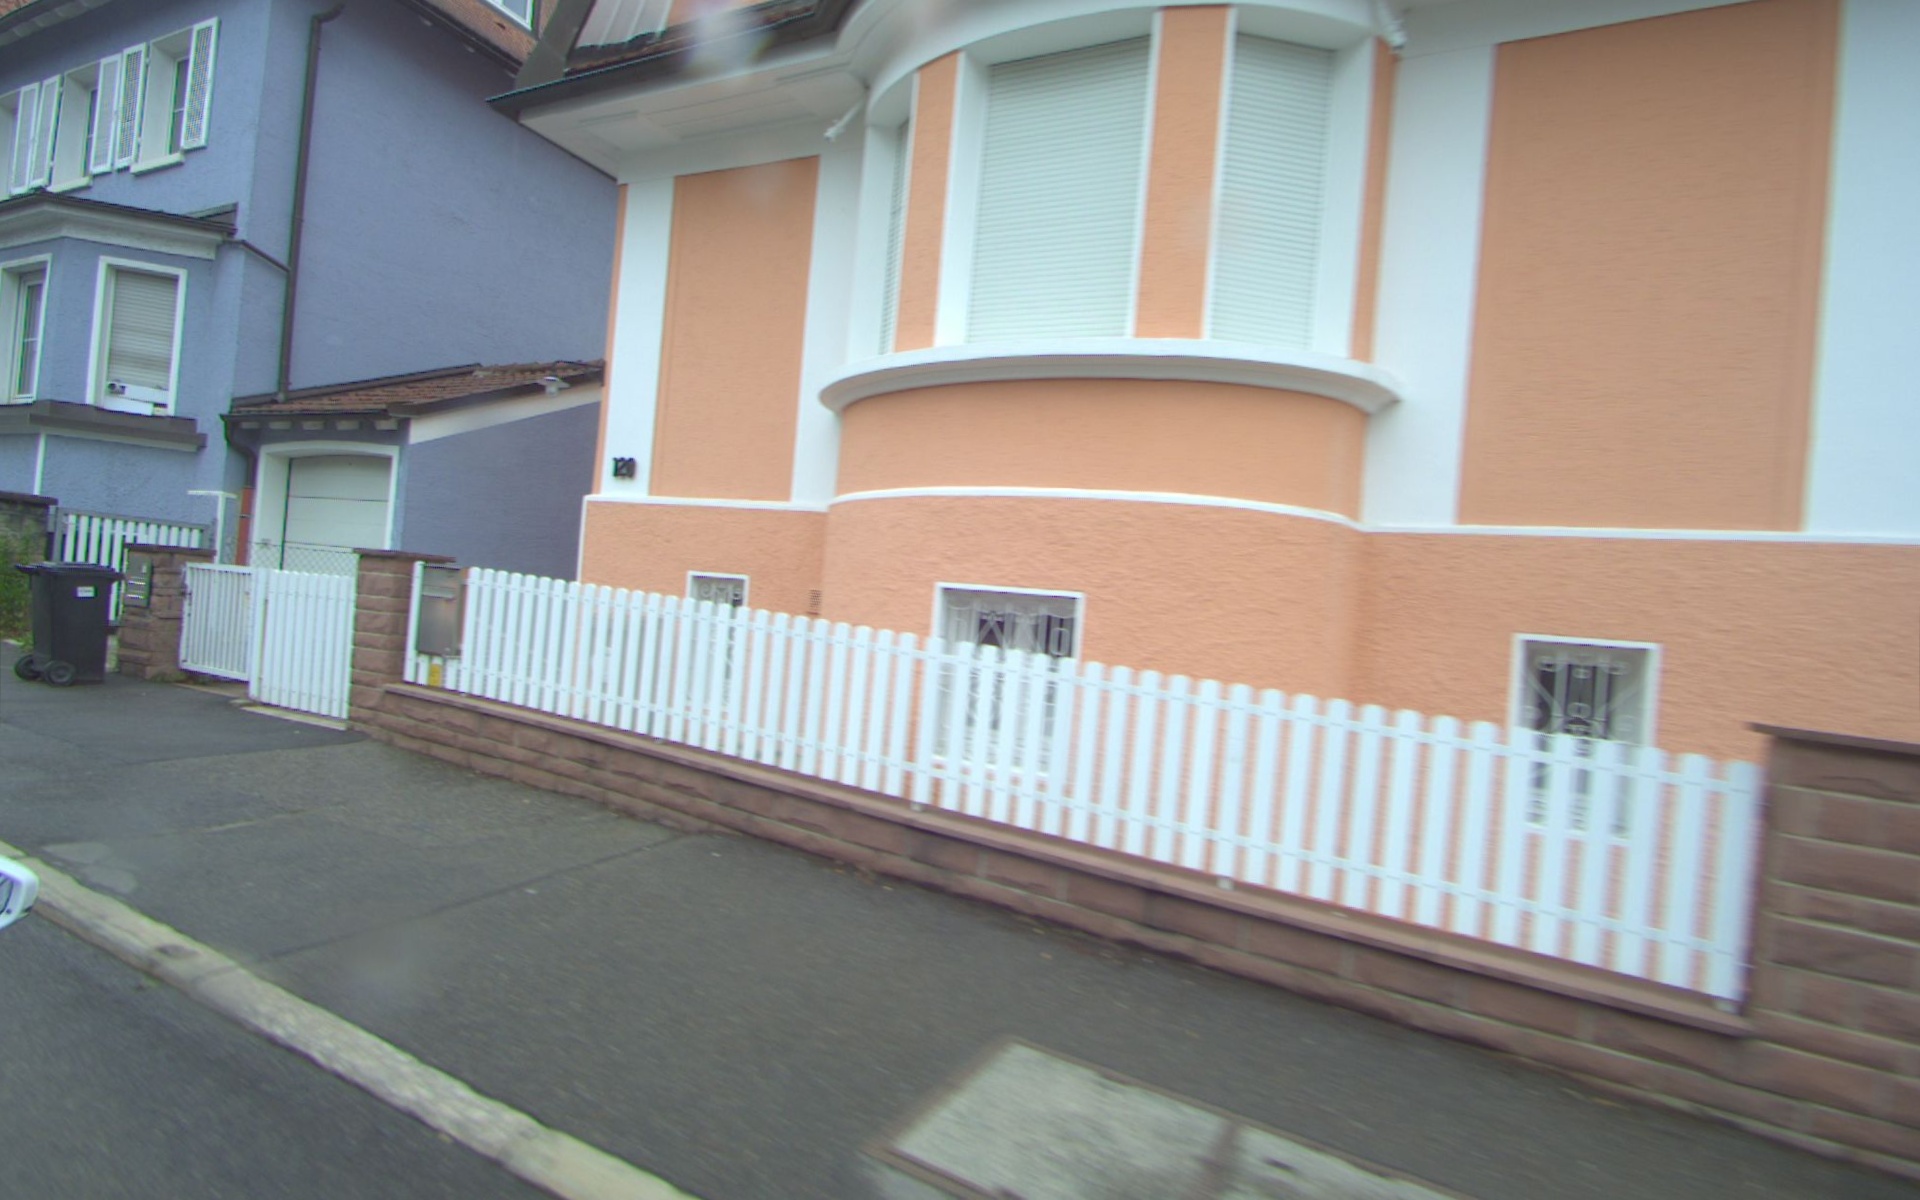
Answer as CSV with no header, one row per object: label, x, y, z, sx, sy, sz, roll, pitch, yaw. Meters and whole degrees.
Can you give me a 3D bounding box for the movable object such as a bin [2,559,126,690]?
movable object such as a bin,-6.902,0.186,7.755,0.479,0.931,0.533,7,2,25
